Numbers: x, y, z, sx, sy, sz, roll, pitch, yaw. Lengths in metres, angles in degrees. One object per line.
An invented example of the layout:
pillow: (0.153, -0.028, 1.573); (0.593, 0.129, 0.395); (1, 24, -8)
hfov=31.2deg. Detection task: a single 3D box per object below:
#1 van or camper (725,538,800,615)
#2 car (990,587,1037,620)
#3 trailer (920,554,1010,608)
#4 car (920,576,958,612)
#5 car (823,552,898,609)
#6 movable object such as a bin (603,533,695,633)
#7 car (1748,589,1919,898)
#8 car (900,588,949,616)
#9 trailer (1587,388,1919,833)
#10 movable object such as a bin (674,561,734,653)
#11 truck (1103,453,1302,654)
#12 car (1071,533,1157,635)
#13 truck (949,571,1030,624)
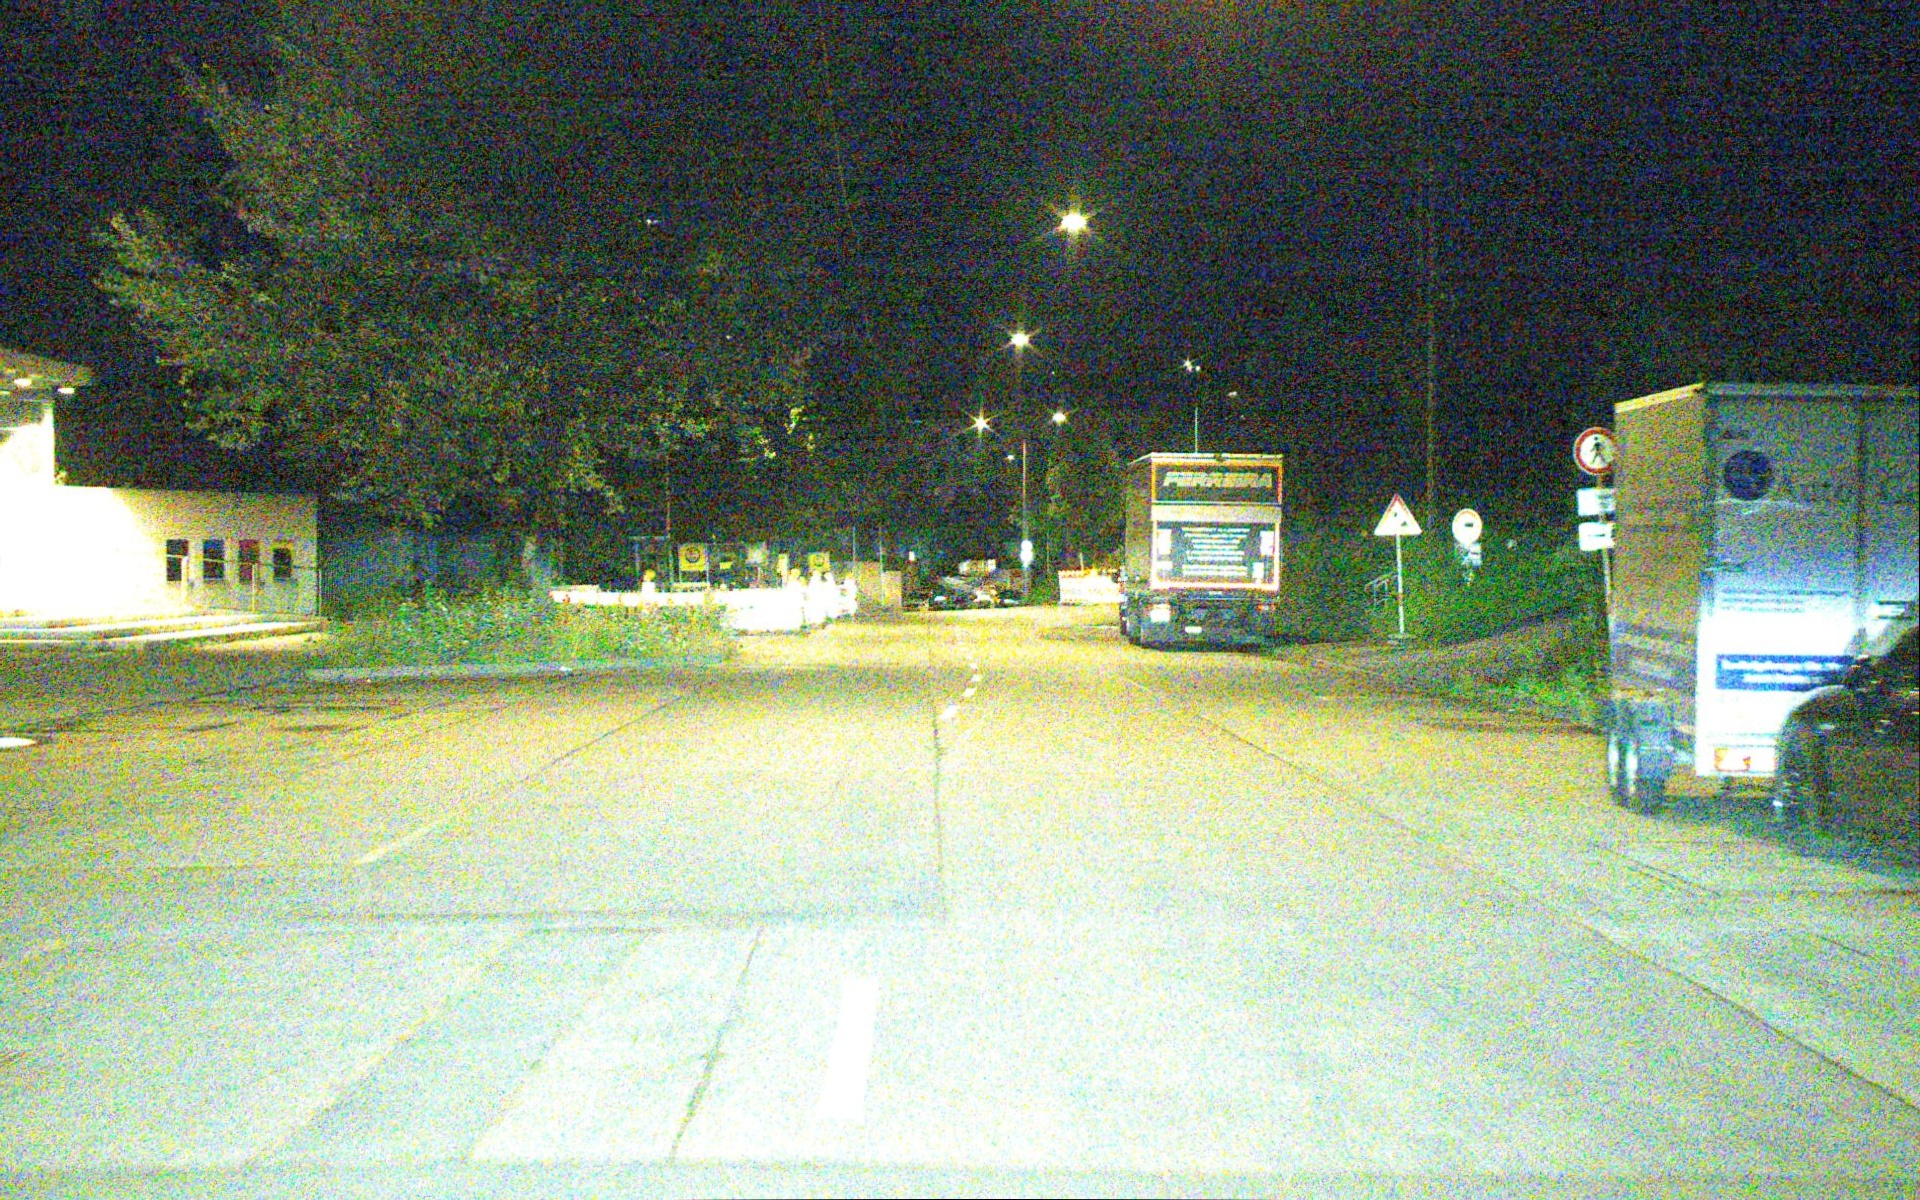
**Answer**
van or camper: (-8.302, -0.971, 145.323); (2.519, 3.084, 7.445); (-2, 0, 1)
car: (2.988, 0.201, 191.799); (1.722, 1.815, 3.997); (0, -1, 15)
trailer: (0.191, -0.804, 148.337); (1.559, 2.153, 5.222); (-2, 0, -28)
car: (-0.981, -0.255, 163.291); (1.720, 1.655, 4.000); (1, -1, 0)
car: (-5.745, -1.135, 199.811); (2.520, 3.160, 7.133); (-2, 0, 13)
movable object such as a bin: (-7.963, -0.425, 87.885); (1.548, 2.459, 2.840); (-2, 0, -21)
car: (5.308, 0.686, 16.700); (1.726, 1.382, 4.677); (0, 1, -2)
car: (-2.213, 0.145, 215.929); (1.995, 1.694, 4.203); (0, -1, 15)
trailer: (5.402, 0.025, 22.486); (1.994, 2.642, 4.000); (1, 1, 2)
movable object such as a bin: (-8.022, 0.199, 107.583); (1.570, 2.724, 3.702); (-3, 2, -7)
truck: (4.852, -0.932, 70.803); (3.324, 3.855, 9.328); (0, 0, -1)
car: (3.937, -0.470, 88.353); (2.109, 2.507, 6.371); (1, 1, 2)
truck: (1.996, -0.194, 229.149); (1.996, 3.392, 8.968); (1, 1, 23)
